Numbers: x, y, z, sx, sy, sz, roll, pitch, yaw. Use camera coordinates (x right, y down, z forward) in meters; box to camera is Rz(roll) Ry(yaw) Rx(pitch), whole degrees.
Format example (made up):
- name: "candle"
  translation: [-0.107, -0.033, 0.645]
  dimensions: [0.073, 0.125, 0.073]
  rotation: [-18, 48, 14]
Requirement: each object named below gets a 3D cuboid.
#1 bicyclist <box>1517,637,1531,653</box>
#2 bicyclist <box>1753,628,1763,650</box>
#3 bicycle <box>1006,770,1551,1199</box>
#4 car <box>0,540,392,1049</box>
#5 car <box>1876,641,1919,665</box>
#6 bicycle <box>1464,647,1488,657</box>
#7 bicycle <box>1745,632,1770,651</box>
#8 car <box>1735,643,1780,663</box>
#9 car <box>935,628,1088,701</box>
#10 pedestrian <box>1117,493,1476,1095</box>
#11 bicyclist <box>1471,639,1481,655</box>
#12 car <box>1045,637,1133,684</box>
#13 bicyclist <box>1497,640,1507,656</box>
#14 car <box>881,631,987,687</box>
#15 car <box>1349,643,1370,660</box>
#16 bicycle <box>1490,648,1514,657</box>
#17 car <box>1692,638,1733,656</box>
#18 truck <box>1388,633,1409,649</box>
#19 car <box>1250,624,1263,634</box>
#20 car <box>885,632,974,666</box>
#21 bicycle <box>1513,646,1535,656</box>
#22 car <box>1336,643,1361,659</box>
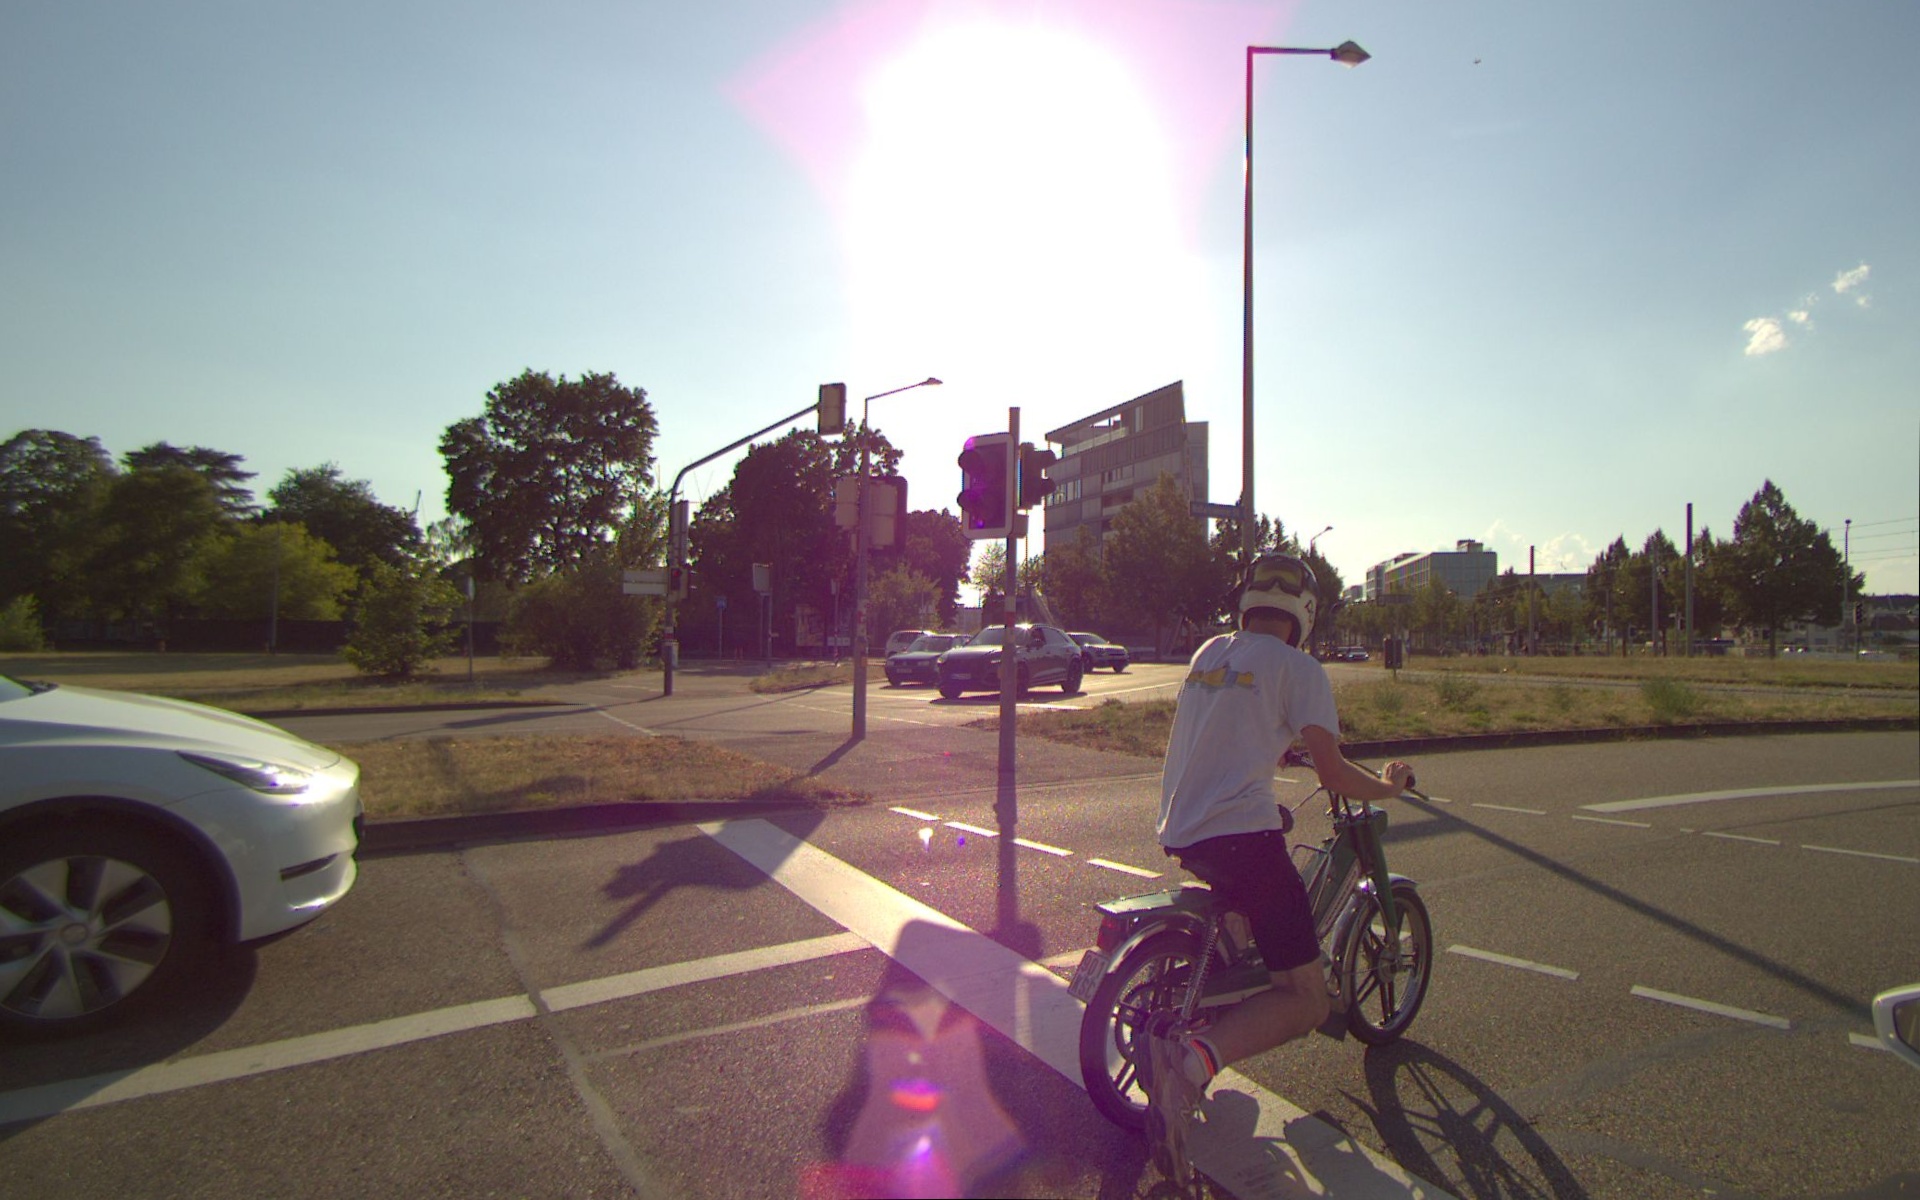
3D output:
- name: "bicyclist"
  translation: [47.469, 3.783, 84.539]
  dimensions: [0.938, 1.375, 0.693]
  rotation: [0, -2, 19]
- name: "bicyclist"
  translation: [62.249, 3.007, 78.334]
  dimensions: [0.599, 1.694, 0.476]
  rotation: [0, -2, 39]
- name: "bicycle"
  translation: [1.035, 1.045, 3.045]
  dimensions: [1.834, 0.887, 0.475]
  rotation: [1, -2, -31]
- name: "car"
  translation: [-4.550, 0.586, 3.197]
  dimensions: [4.630, 1.620, 1.724]
  rotation: [2, -1, -35]
- name: "car"
  translation: [74.794, 4.181, 78.799]
  dimensions: [3.928, 1.839, 1.997]
  rotation: [-1, -2, 29]
- name: "bicycle"
  translation: [42.766, 4.307, 83.207]
  dimensions: [1.687, 0.754, 0.481]
  rotation: [0, -2, 14]
- name: "bicycle"
  translation: [62.216, 3.253, 78.349]
  dimensions: [1.521, 1.493, 0.477]
  rotation: [-1, -2, 40]
- name: "car"
  translation: [87.943, 5.813, 110.793]
  dimensions: [1.960, 2.040, 4.003]
  rotation: [0, -2, 5]
- name: "car"
  translation: [1.326, 1.448, 23.538]
  dimensions: [1.624, 1.532, 4.636]
  rotation: [-1, -3, 30]
- name: "pedestrian"
  translation: [1.018, 0.512, 3.079]
  dimensions: [0.844, 1.539, 0.653]
  rotation: [1, -2, -30]
- name: "bicyclist"
  translation: [42.776, 3.907, 83.219]
  dimensions: [0.641, 1.343, 0.519]
  rotation: [0, -2, 14]
- name: "car"
  translation: [5.017, 2.333, 39.558]
  dimensions: [1.749, 1.695, 4.181]
  rotation: [1, -2, -20]
- name: "bicyclist"
  translation: [45.229, 3.991, 83.820]
  dimensions: [0.641, 1.343, 0.519]
  rotation: [0, -2, 14]
- name: "car"
  translation: [-0.674, 1.681, 29.226]
  dimensions: [1.621, 1.532, 3.826]
  rotation: [-1, -3, 24]
- name: "car"
  translation: [36.563, 4.688, 91.919]
  dimensions: [1.455, 1.495, 3.301]
  rotation: [0, -2, 17]
- name: "bicycle"
  translation: [45.225, 4.392, 83.834]
  dimensions: [1.687, 0.754, 0.481]
  rotation: [0, -2, 14]
- name: "car"
  translation: [89.064, 5.593, 118.939]
  dimensions: [1.960, 2.040, 4.003]
  rotation: [0, -2, 5]
- name: "truck"
  translation: [92.254, 8.553, 211.414]
  dimensions: [3.074, 3.273, 7.179]
  rotation: [0, -2, 14]
- name: "car"
  translation: [47.159, 4.632, 159.997]
  dimensions: [1.753, 1.576, 4.002]
  rotation: [2, 0, 14]
- name: "car"
  translation: [-1.453, 2.316, 47.676]
  dimensions: [3.867, 1.545, 1.656]
  rotation: [0, -2, 22]
- name: "bicycle"
  translation: [47.403, 4.278, 84.441]
  dimensions: [1.588, 0.871, 0.545]
  rotation: [0, -2, 21]
- name: "car"
  translation: [38.258, 5.004, 98.943]
  dimensions: [1.960, 1.495, 4.002]
  rotation: [0, -2, 17]
